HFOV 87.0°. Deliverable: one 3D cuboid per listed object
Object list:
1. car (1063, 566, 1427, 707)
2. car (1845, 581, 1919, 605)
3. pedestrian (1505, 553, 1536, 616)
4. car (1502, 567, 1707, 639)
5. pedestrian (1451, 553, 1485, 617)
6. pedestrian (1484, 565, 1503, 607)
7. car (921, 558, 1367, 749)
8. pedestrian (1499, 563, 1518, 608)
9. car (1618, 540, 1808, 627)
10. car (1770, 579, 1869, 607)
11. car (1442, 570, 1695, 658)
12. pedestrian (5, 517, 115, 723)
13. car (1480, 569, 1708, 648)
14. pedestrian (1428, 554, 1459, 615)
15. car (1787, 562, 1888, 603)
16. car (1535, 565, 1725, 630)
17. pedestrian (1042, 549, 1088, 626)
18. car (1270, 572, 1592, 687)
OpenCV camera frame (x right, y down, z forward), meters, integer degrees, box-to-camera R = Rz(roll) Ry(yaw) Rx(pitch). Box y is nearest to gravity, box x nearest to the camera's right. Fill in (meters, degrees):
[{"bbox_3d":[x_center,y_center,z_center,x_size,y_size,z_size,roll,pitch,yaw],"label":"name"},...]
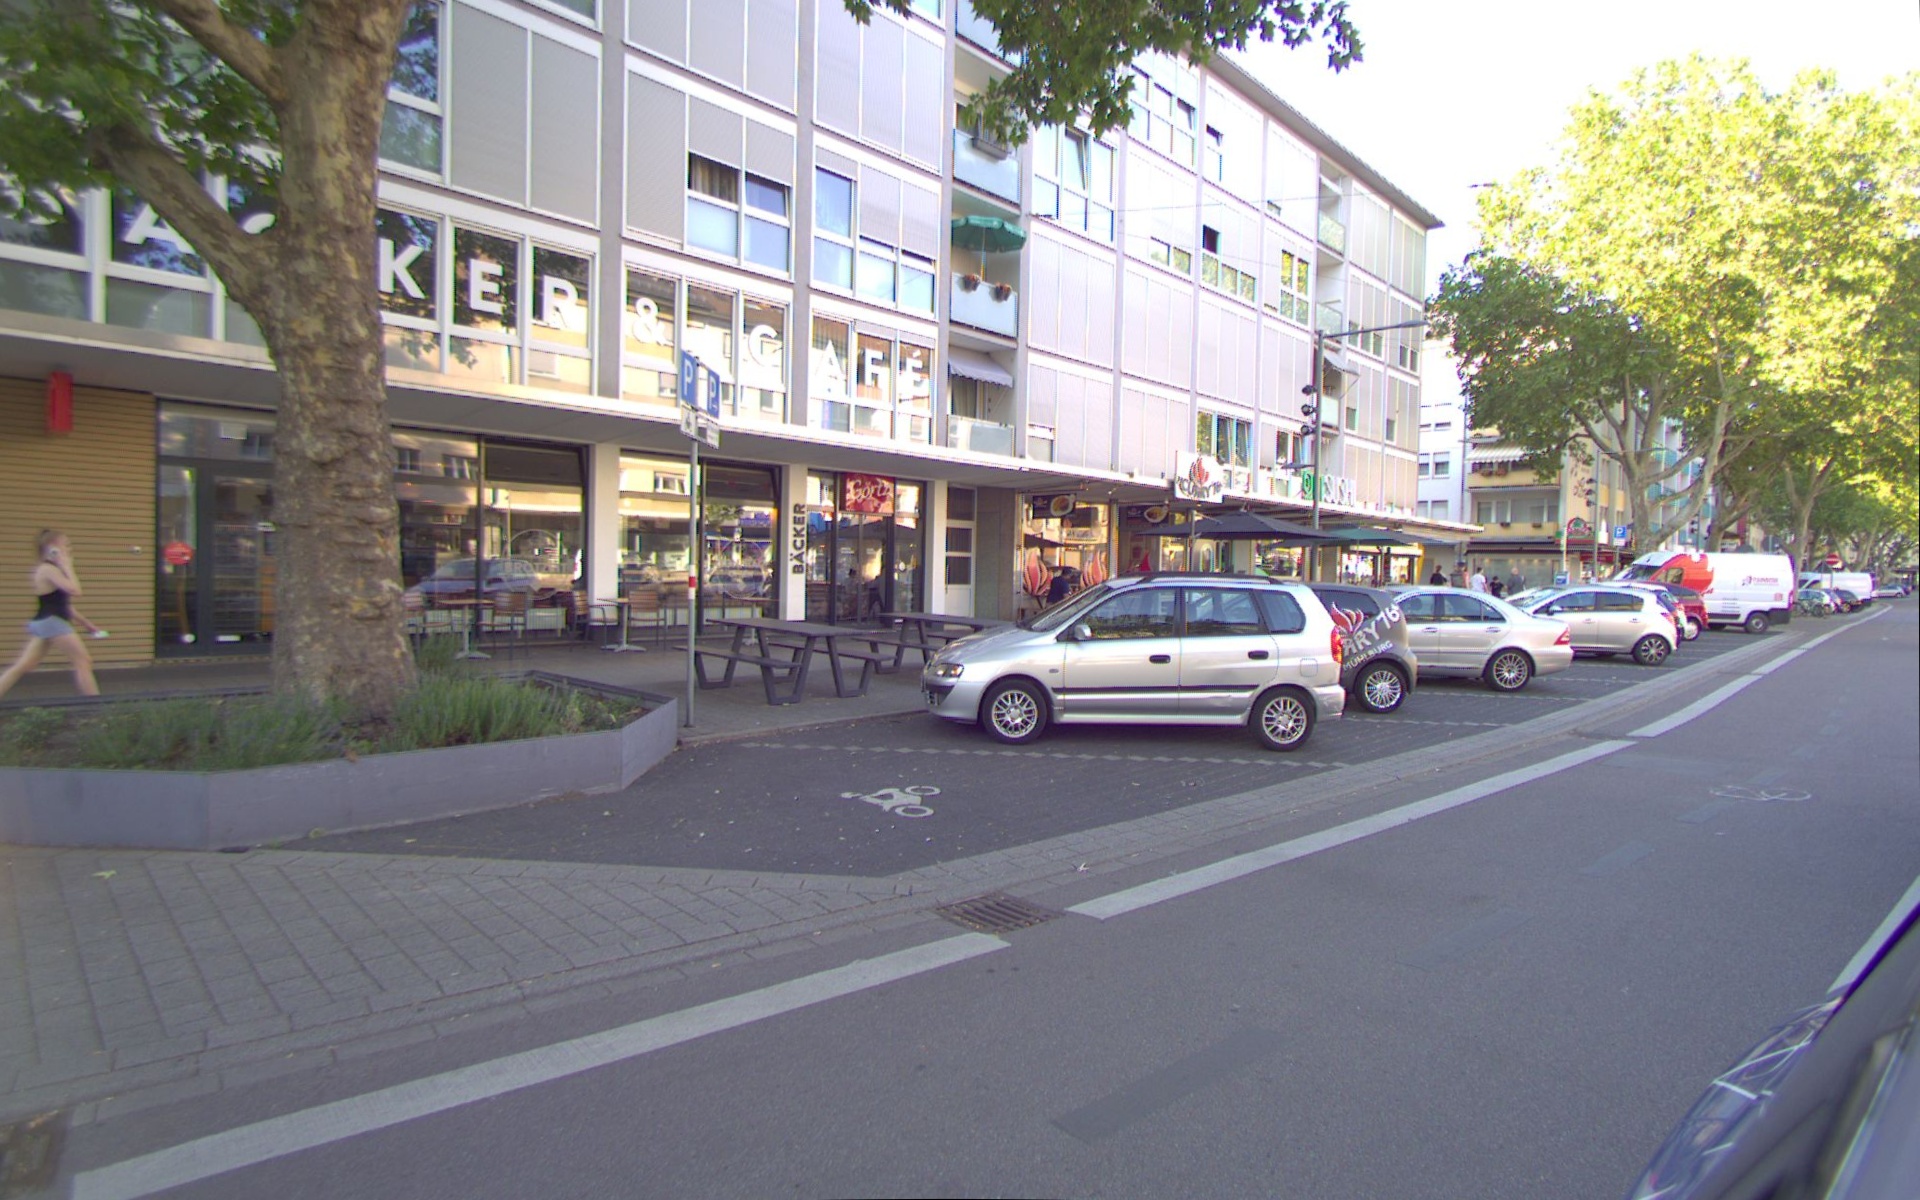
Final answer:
[{"bbox_3d":[3.334,0.397,12.328,3.864,1.446,1.679,2,3,-3],"label":"car"},{"bbox_3d":[56.476,-0.430,61.414,3.864,1.350,1.782,1,2,3],"label":"car"},{"bbox_3d":[18.512,-0.520,33.427,0.746,2.038,0.550,2,2,45],"label":"pedestrian"},{"bbox_3d":[15.934,0.024,25.248,3.888,1.445,1.669,4,5,17],"label":"car"},{"bbox_3d":[16.478,-0.488,32.850,0.746,2.038,0.752,2,2,45],"label":"pedestrian"},{"bbox_3d":[21.332,-0.566,40.459,0.536,1.660,0.470,2,2,45],"label":"pedestrian"},{"bbox_3d":[1.612,0.455,9.813,3.906,1.560,1.679,2,3,-3],"label":"car"},{"bbox_3d":[21.713,-0.574,40.062,0.544,1.741,0.450,2,2,45],"label":"pedestrian"},{"bbox_3d":[23.758,-0.536,32.069,4.514,2.525,1.675,2,1,5],"label":"car"},{"bbox_3d":[47.989,-0.402,56.552,3.864,1.422,1.782,1,2,3],"label":"car"},{"bbox_3d":[11.805,0.235,19.833,3.871,1.446,1.559,3,3,4],"label":"car"},{"bbox_3d":[-7.314,0.141,8.224,0.559,1.596,0.632,2,2,44],"label":"pedestrian"},{"bbox_3d":[14.008,0.144,22.611,3.886,1.446,1.670,3,3,16],"label":"car"},{"bbox_3d":[16.062,-0.519,33.601,0.746,2.000,0.566,2,2,45],"label":"pedestrian"},{"bbox_3d":[56.466,-1.137,65.182,4.512,2.499,1.977,1,2,3],"label":"car"},{"bbox_3d":[18.140,-0.118,27.582,3.888,1.445,1.669,3,5,17],"label":"car"},{"bbox_3d":[2.230,-0.270,21.403,0.757,1.602,0.583,0,2,-39],"label":"pedestrian"},{"bbox_3d":[6.755,0.389,14.808,3.867,1.418,1.598,2,3,1],"label":"car"}]
